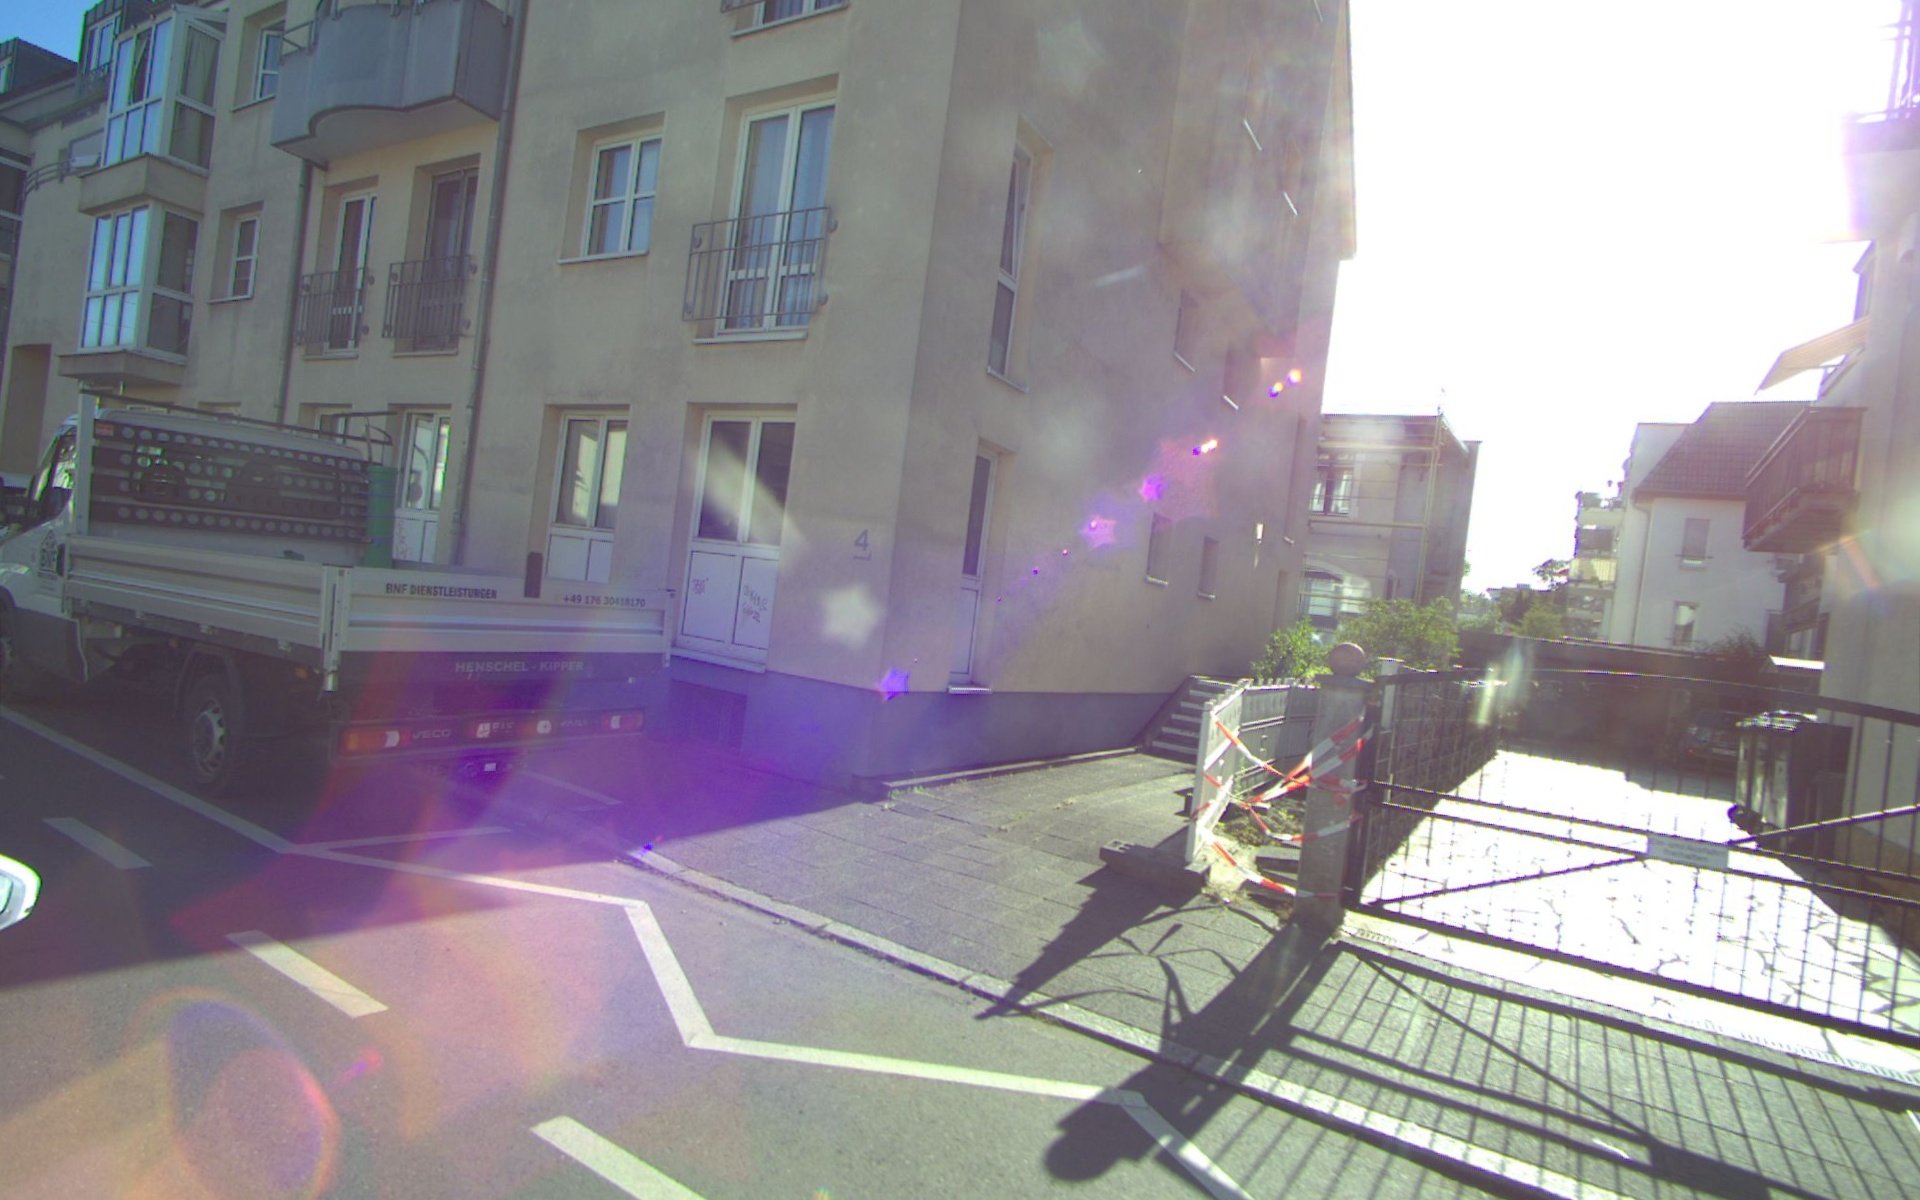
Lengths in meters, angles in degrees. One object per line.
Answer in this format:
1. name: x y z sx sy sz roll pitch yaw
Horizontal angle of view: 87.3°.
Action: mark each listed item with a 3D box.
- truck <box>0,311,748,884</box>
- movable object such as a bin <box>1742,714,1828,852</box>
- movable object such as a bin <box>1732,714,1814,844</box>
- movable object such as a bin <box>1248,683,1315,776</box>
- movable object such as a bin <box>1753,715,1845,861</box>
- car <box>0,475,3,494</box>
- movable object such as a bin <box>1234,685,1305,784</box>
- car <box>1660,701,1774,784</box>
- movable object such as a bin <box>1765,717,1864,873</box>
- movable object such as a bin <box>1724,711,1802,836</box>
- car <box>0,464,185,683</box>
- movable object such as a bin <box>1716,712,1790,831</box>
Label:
1. truck: -4.611 -0.230 6.971 6.045 2.507 2.298 7 0 32
2. movable object such as a bin: 9.105 1.998 11.121 0.517 1.384 0.572 7 1 31
3. movable object such as a bin: 9.415 2.052 11.669 0.517 1.384 0.572 7 1 31
4. movable object such as a bin: 3.688 1.473 11.544 0.480 0.961 0.608 7 0 33
5. movable object such as a bin: 8.725 1.931 10.478 0.517 1.384 0.533 7 1 31
6. car: -13.964 -0.979 12.703 3.923 1.719 1.606 7 -2 31
7. movable object such as a bin: 3.347 1.438 10.866 0.480 0.961 0.608 7 0 33
8. car: 17.703 3.275 23.670 1.625 1.523 3.502 7 -1 31
9. movable object such as a bin: 8.447 1.903 9.961 0.525 1.398 0.521 7 1 31
10. movable object such as a bin: 9.736 2.084 12.214 0.517 1.384 0.645 7 1 31
11. car: -9.602 -0.419 9.819 4.185 1.766 1.743 7 -2 32
12. movable object such as a bin: 10.090 2.165 12.812 0.517 1.384 0.645 7 1 31
